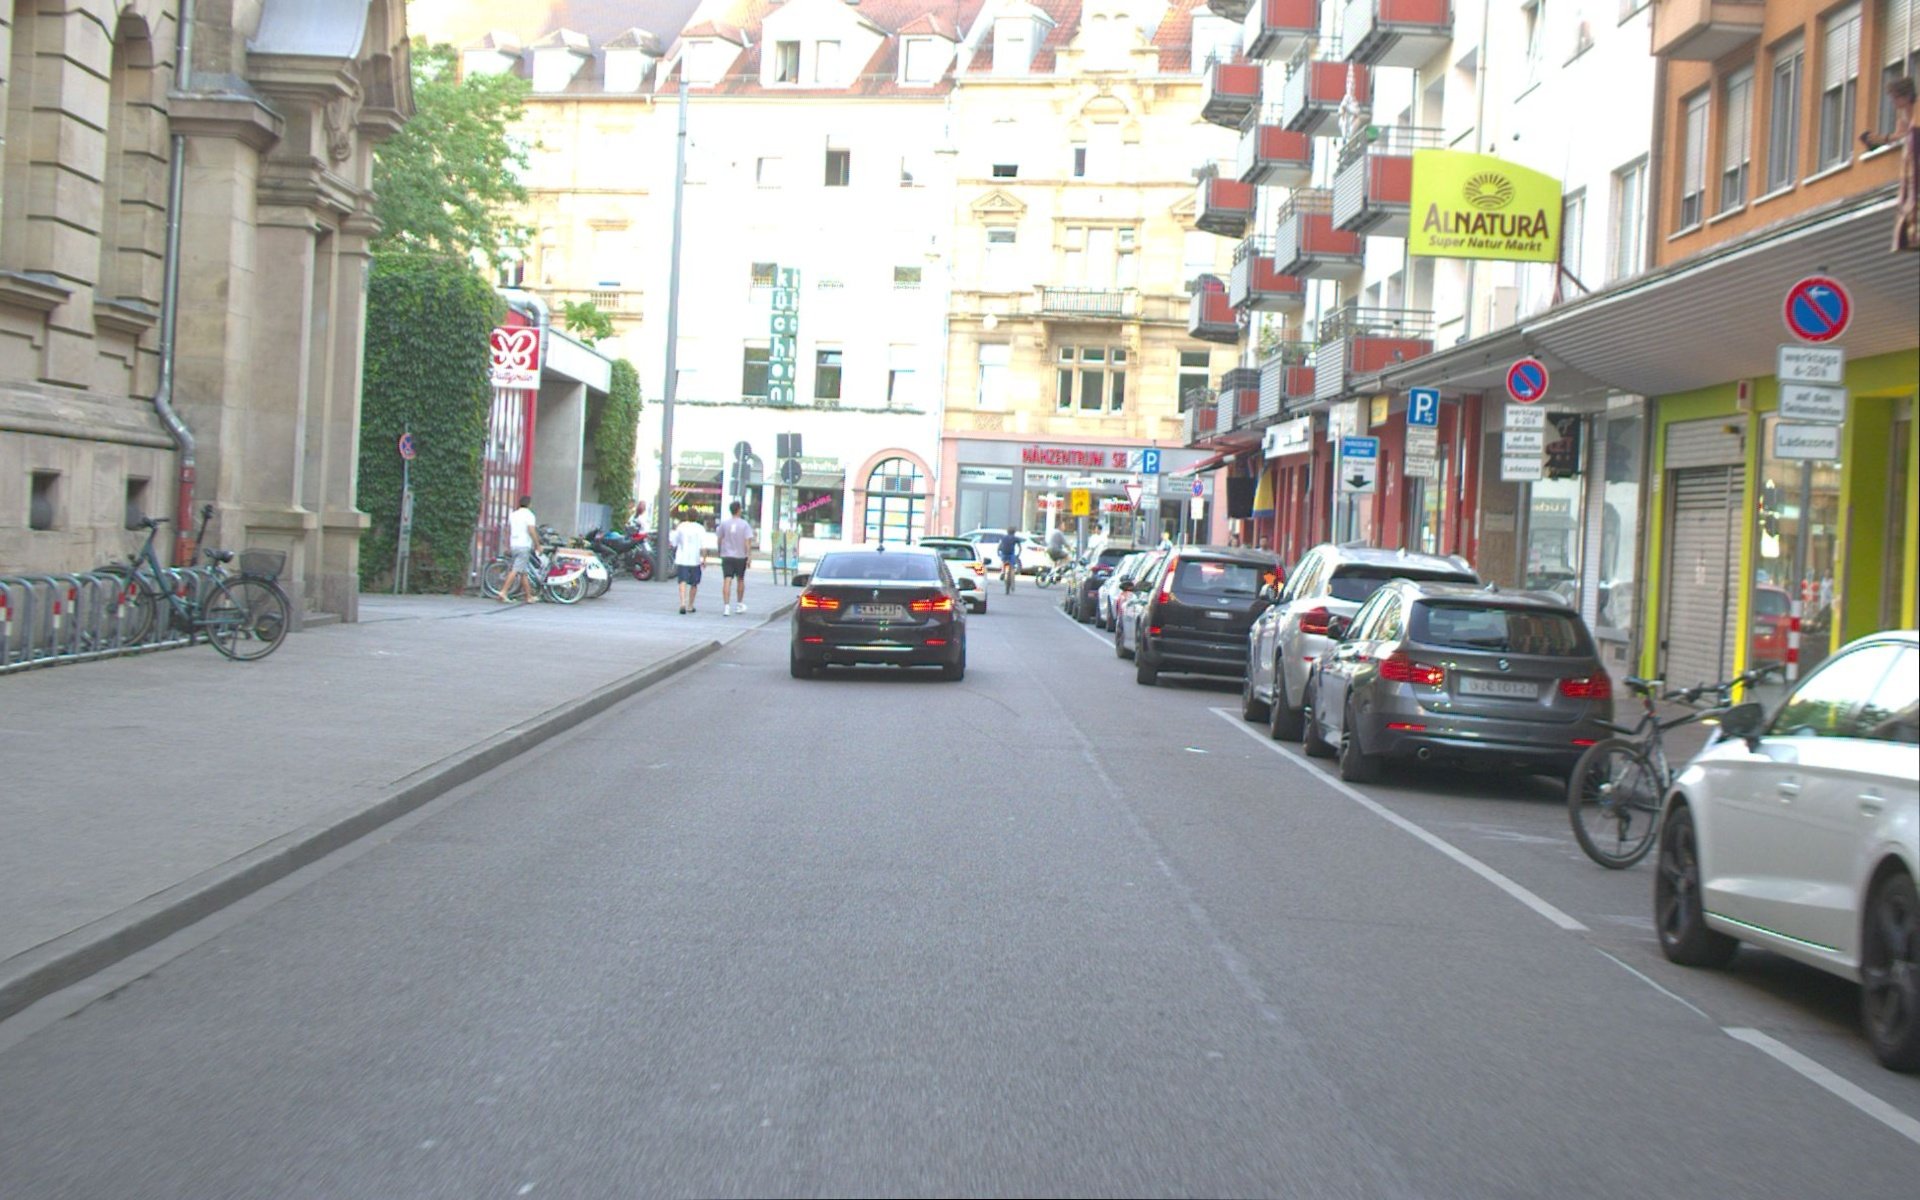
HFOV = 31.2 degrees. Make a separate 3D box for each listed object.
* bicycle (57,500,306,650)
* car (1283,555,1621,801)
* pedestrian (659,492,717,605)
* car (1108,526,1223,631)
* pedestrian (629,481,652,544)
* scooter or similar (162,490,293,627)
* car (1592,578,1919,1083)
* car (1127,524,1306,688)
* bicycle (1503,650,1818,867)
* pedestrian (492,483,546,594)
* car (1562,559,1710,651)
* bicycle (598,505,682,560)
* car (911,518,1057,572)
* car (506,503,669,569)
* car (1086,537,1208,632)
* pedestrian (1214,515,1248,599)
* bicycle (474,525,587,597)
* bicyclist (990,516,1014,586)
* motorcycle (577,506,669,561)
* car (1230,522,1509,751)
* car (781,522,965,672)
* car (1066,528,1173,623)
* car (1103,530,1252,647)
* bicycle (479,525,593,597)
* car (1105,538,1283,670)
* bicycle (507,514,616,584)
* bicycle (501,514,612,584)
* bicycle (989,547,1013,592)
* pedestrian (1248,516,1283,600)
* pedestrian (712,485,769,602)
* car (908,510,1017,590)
[{"bbox_3d":[-6.566,-0.211,28.986,1.936,1.058,0.620,6,0,-15],"label":"bicycle"},{"bbox_3d":[3.470,0.484,25.067,1.691,1.410,4.757,5,2,0],"label":"car"},{"bbox_3d":[-4.530,-0.856,57.257,0.741,1.806,1.009,5,1,-1],"label":"pedestrian"},{"bbox_3d":[3.374,-0.389,57.048,1.606,1.507,4.048,5,2,1],"label":"car"},{"bbox_3d":[-8.381,-2.299,90.213,0.500,1.637,0.520,2,1,2],"label":"pedestrian"},{"bbox_3d":[-6.979,-0.400,32.773,1.132,1.228,0.497,4,1,-12],"label":"scooter or similar"},{"bbox_3d":[3.686,0.759,12.216,1.691,1.406,4.640,5,2,-3],"label":"car"},{"bbox_3d":[2.924,0.018,39.279,1.794,1.604,4.486,5,2,4],"label":"car"},{"bbox_3d":[3.728,0.838,18.232,1.732,1.052,0.659,3,2,-42],"label":"bicycle"},{"bbox_3d":[-7.122,-0.995,55.543,0.717,1.748,0.848,3,1,-1],"label":"pedestrian"},{"bbox_3d":[11.150,0.059,56.925,1.740,1.332,4.000,2,2,2],"label":"car"},{"bbox_3d":[-7.205,-1.523,77.478,1.794,1.104,0.500,4,1,-5],"label":"bicycle"},{"bbox_3d":[0.804,-1.802,112.872,4.357,1.557,1.866,3,1,23],"label":"car"},{"bbox_3d":[-9.433,-1.636,86.993,3.986,1.496,1.892,2,2,-8],"label":"car"},{"bbox_3d":[3.348,-0.309,62.230,1.698,1.447,4.459,5,2,-2],"label":"car"},{"bbox_3d":[5.391,-0.863,68.359,0.648,1.655,0.655,0,1,2],"label":"pedestrian"},{"bbox_3d":[-7.210,-0.661,57.754,1.794,1.104,0.500,3,1,-1],"label":"bicycle"},{"bbox_3d":[1.077,-1.256,88.030,0.523,1.750,0.620,3,1,1],"label":"bicyclist"},{"bbox_3d":[-7.328,-1.453,74.702,1.803,1.060,0.763,5,1,26],"label":"motorcycle"},{"bbox_3d":[3.483,0.243,30.032,1.752,1.662,4.757,5,2,0],"label":"car"},{"bbox_3d":[-0.875,-0.082,37.013,1.765,1.370,4.791,3,2,0],"label":"car"},{"bbox_3d":[3.150,-0.525,68.766,1.765,1.636,4.791,5,2,0],"label":"car"},{"bbox_3d":[3.276,-0.219,52.517,1.712,1.507,4.653,5,2,-2],"label":"car"},{"bbox_3d":[-7.079,-0.652,57.408,1.794,1.104,0.500,3,1,0],"label":"bicycle"},{"bbox_3d":[2.978,0.007,44.657,1.736,1.410,4.683,5,2,-2],"label":"car"},{"bbox_3d":[-7.016,-0.900,60.558,1.794,1.104,0.500,4,1,3],"label":"bicycle"},{"bbox_3d":[-7.029,-0.886,59.926,1.794,1.104,0.500,4,1,3],"label":"bicycle"},{"bbox_3d":[1.049,-0.800,88.062,0.536,1.104,1.800,3,1,1],"label":"bicycle"},{"bbox_3d":[6.066,-0.837,68.356,0.648,1.655,0.794,0,1,2],"label":"pedestrian"},{"bbox_3d":[-3.677,-0.950,57.603,0.744,1.887,1.050,4,1,0],"label":"pedestrian"},{"bbox_3d":[0.071,-1.027,68.693,1.878,1.468,4.000,2,2,4],"label":"car"}]
